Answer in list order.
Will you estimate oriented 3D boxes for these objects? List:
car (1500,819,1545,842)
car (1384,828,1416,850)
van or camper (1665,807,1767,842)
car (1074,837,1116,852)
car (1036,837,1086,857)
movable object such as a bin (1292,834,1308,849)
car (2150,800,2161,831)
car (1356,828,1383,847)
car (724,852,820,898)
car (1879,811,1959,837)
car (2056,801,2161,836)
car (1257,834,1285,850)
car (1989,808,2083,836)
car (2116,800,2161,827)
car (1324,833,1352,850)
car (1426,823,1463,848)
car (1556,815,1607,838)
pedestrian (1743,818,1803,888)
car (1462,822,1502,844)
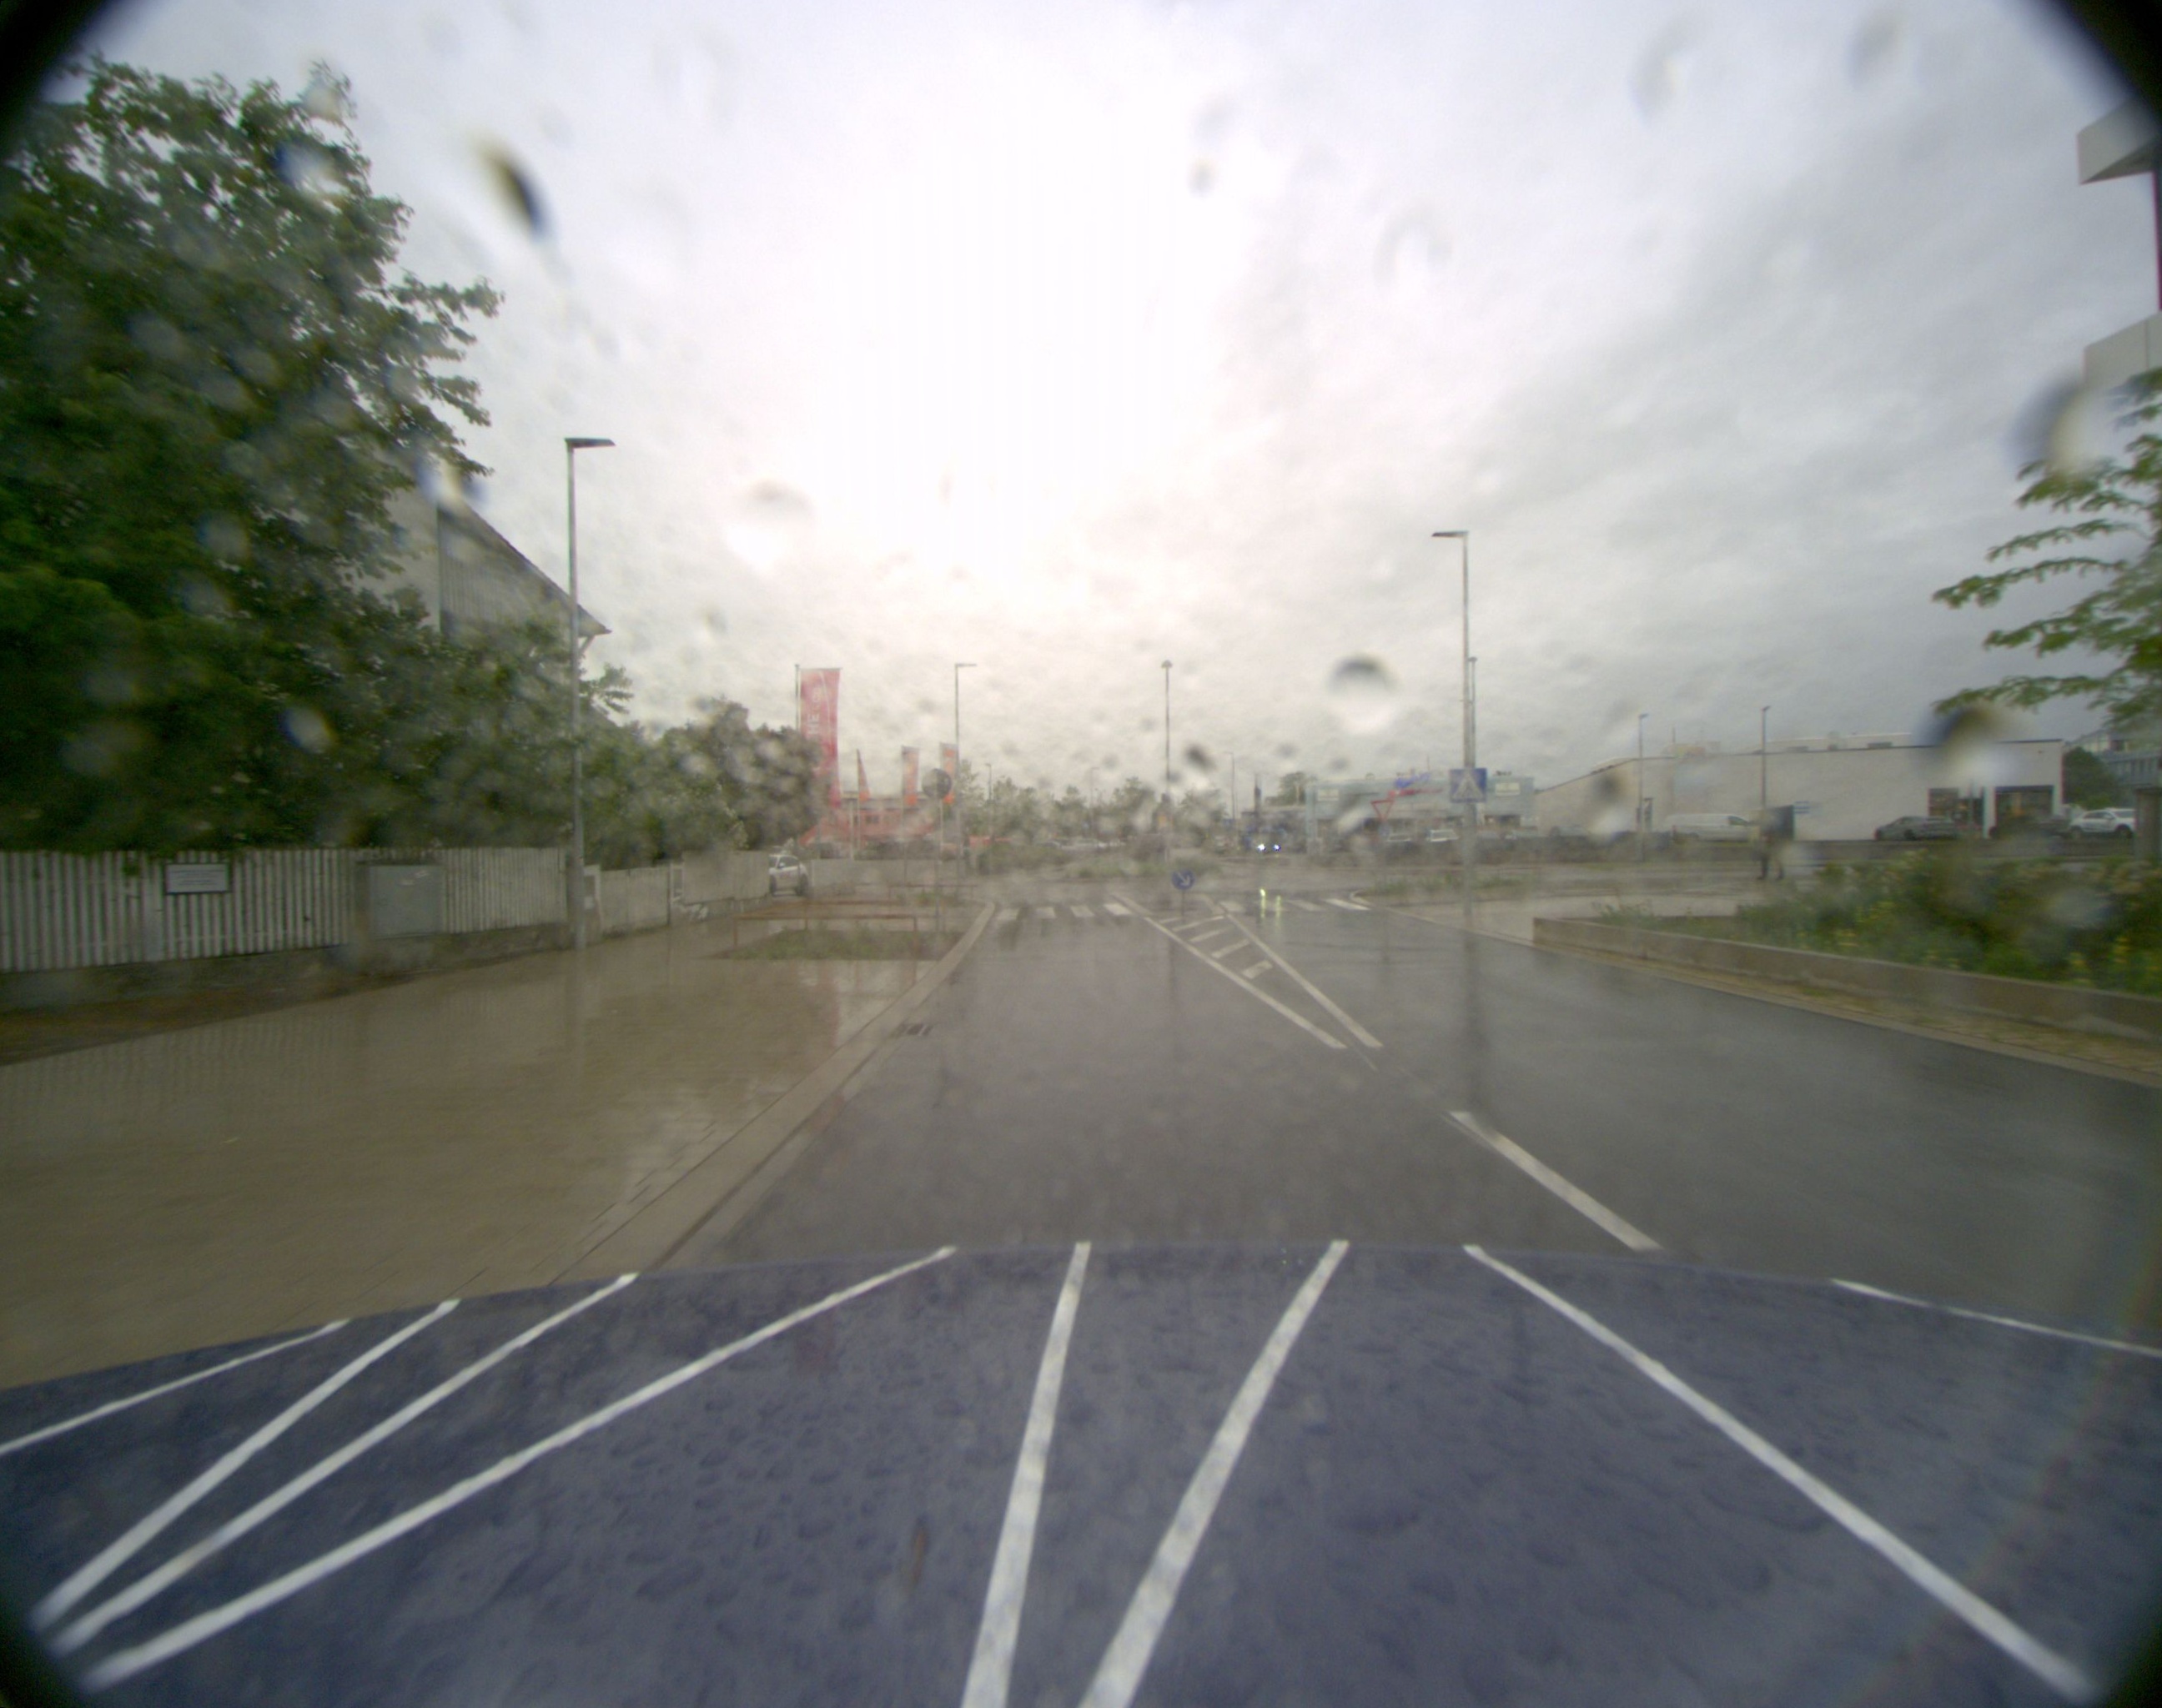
[{"bbox_3d":[28.389,-1.501,48.975,1.884,1.288,4.006,-4,0,23],"label":"car"},{"bbox_3d":[21.557,-1.023,51.366,1.884,1.288,4.006,-4,0,23],"label":"car"},{"bbox_3d":[38.848,-1.789,46.639,4.372,1.751,1.890,-4,0,23],"label":"van or camper"},{"bbox_3d":[1.467,-0.952,79.516,3.990,1.433,2.003,-2,0,23],"label":"car"},{"bbox_3d":[-1.834,-0.651,69.964,4.095,1.696,2.003,-2,0,26],"label":"car"},{"bbox_3d":[20.460,-1.192,70.955,1.212,1.288,1.481,-4,0,23],"label":"movable object such as a bin"},{"bbox_3d":[53.926,-1.919,36.003,1.791,1.543,4.005,-2,1,19],"label":"car"},{"bbox_3d":[24.437,-1.406,64.296,1.884,1.477,4.006,-4,0,23],"label":"car"},{"bbox_3d":[-12.125,0.778,30.148,1.845,1.681,4.172,-1,0,4],"label":"car"},{"bbox_3d":[53.297,-1.872,48.440,1.790,1.543,4.005,-2,1,21],"label":"car"},{"bbox_3d":[51.012,-1.716,37.396,1.848,1.543,4.005,-2,1,19],"label":"car"},{"bbox_3d":[19.428,-1.233,77.562,1.917,1.521,4.006,-3,0,25],"label":"car"},{"bbox_3d":[58.368,-1.930,46.534,1.790,1.543,4.005,-2,1,21],"label":"car"},{"bbox_3d":[65.328,-2.473,45.291,3.992,1.543,1.797,-2,1,18],"label":"car"},{"bbox_3d":[21.927,-1.102,64.773,1.884,1.288,4.006,-4,0,23],"label":"car"},{"bbox_3d":[24.294,-1.196,50.922,1.791,1.543,4.005,-2,1,19],"label":"car"},{"bbox_3d":[31.312,-1.704,47.659,1.884,1.288,4.006,-4,0,23],"label":"car"},{"bbox_3d":[20.532,-0.041,22.561,0.893,2.002,0.931,-2,1,-6],"label":"pedestrian"},{"bbox_3d":[26.294,-1.363,49.871,1.884,1.288,4.006,-4,0,23],"label":"car"}]
